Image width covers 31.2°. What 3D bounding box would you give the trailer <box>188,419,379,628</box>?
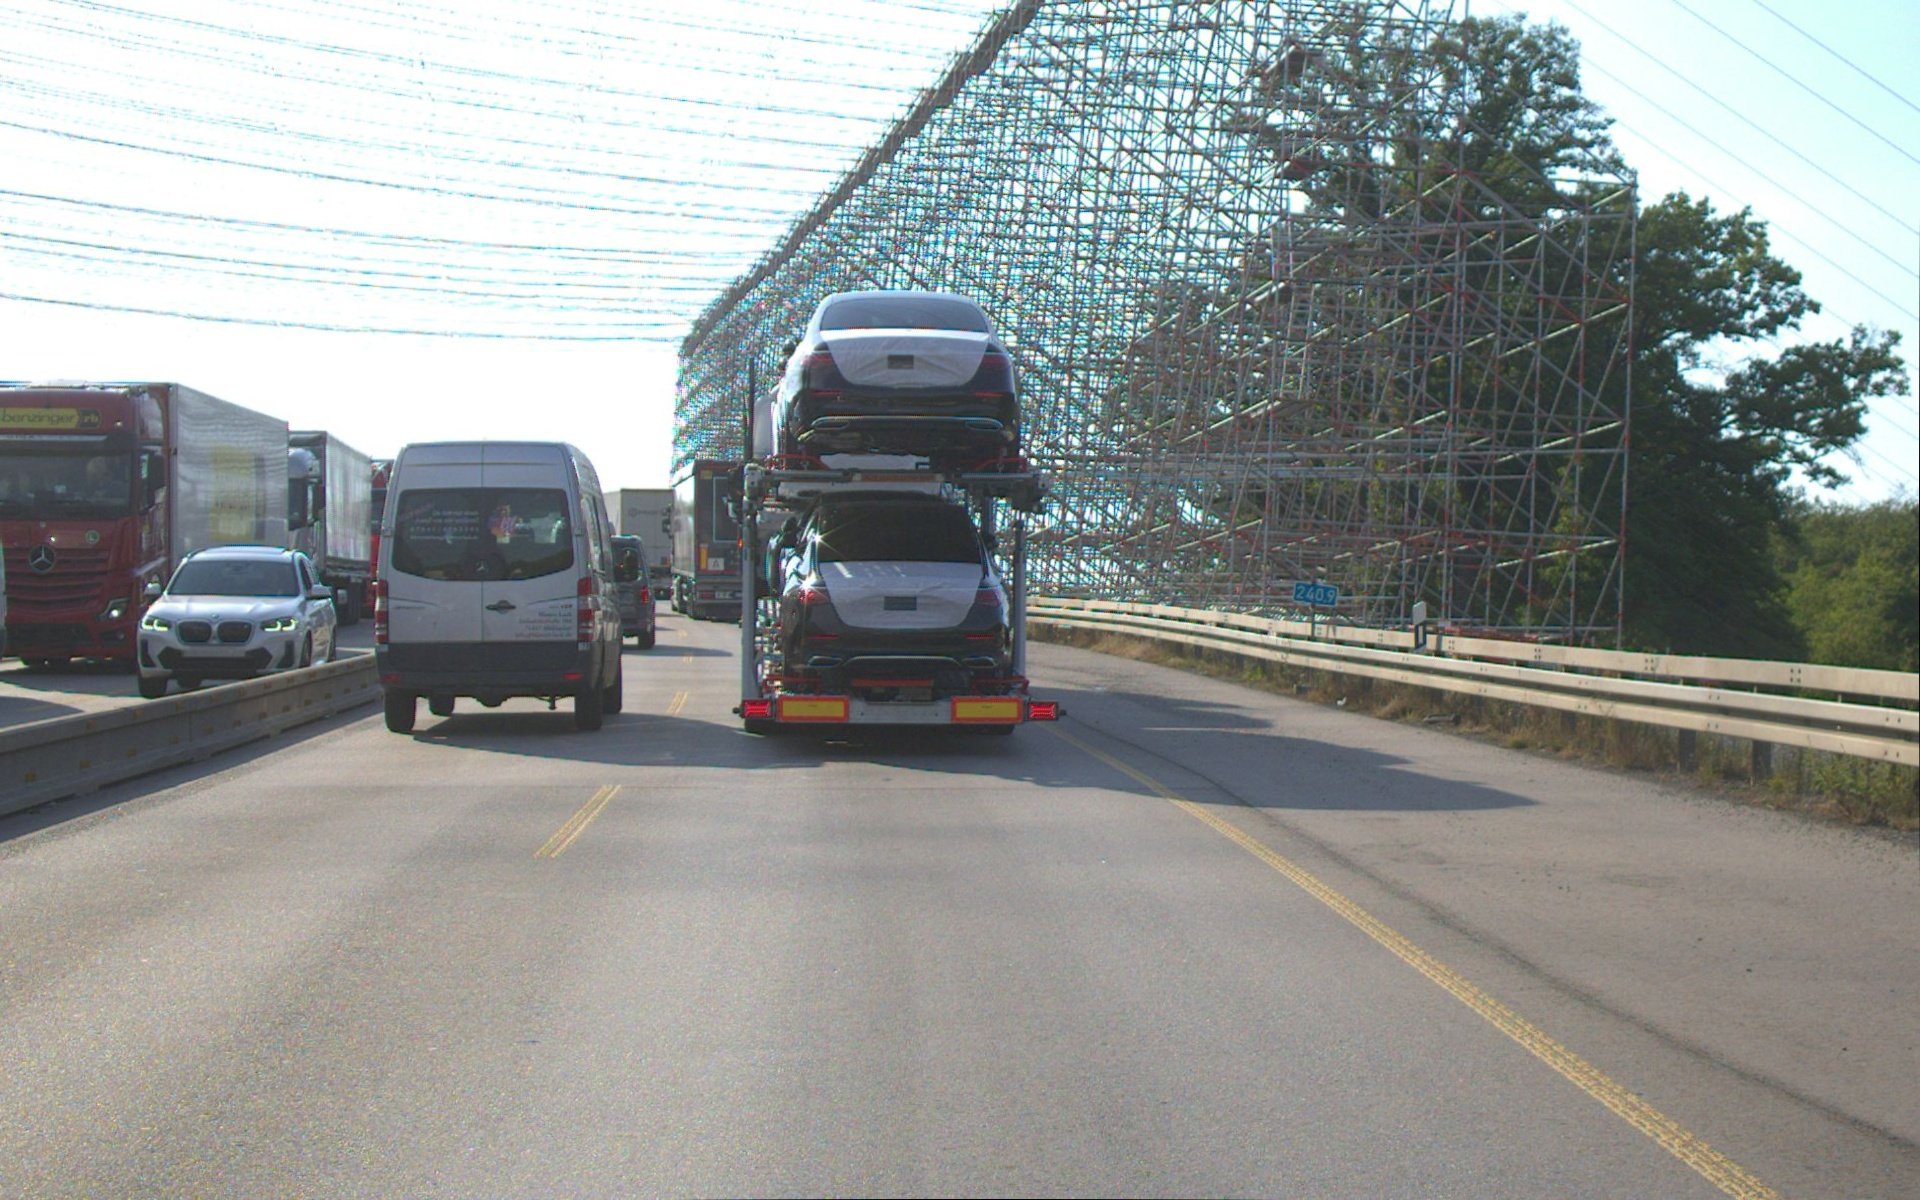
[{"bbox_3d":[-14.620,-1.583,75.335,2.798,4.127,13.969,0,0,-6],"label":"trailer"}]

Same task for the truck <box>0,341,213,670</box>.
[{"bbox_3d":[-12.207,-1.262,47.934,2.744,4.285,5.935,0,0,-5],"label":"truck"}]

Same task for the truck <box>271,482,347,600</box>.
[{"bbox_3d":[-24.010,-2.152,126.711,2.661,4.215,6.106,0,1,-11],"label":"truck"}]

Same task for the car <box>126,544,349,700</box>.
[{"bbox_3d":[-8.375,0.206,40.223,1.869,1.583,4.804,2,2,-4],"label":"car"}]

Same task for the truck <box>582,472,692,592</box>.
[{"bbox_3d":[-12.296,-2.607,132.001,3.686,4.206,13.671,-2,1,-4],"label":"truck"}]

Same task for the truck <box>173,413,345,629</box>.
[{"bbox_3d":[-13.958,-1.530,68.815,2.787,4.127,5.935,0,0,-6],"label":"truck"}]

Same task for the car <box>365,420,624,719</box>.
[{"bbox_3d":[-4.276,-0.275,32.135,1.956,2.612,4.000,0,0,-1],"label":"car"}]

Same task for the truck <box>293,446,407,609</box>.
[{"bbox_3d":[-16.671,-1.908,94.570,2.786,4.127,13.811,0,0,-9],"label":"truck"}]

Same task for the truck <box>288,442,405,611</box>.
[{"bbox_3d":[-15.664,-1.839,88.050,2.786,4.127,6.681,0,0,-9],"label":"truck"}]

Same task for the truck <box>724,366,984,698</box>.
[{"bbox_3d":[-1.368,-0.791,42.025,2.881,3.690,7.326,0,0,-3],"label":"truck"}]

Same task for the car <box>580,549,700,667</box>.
[{"bbox_3d":[-5.760,0.128,61.529,1.993,2.007,4.001,1,0,-7],"label":"car"}]

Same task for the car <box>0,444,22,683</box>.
[{"bbox_3d":[-11.612,-0.357,35.870,2.021,2.680,6.950,1,2,-3],"label":"car"}]

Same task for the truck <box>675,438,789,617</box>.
[{"bbox_3d":[-6.140,-1.913,91.120,2.731,4.370,11.523,1,1,-5],"label":"truck"}]

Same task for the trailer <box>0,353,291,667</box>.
[{"bbox_3d":[-12.754,-1.305,54.377,2.765,4.319,13.883,0,0,-5],"label":"trailer"}]

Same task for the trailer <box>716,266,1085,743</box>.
[{"bbox_3d":[-0.910,-0.804,34.347,2.868,3.712,14.949,0,0,-3],"label":"trailer"}]
